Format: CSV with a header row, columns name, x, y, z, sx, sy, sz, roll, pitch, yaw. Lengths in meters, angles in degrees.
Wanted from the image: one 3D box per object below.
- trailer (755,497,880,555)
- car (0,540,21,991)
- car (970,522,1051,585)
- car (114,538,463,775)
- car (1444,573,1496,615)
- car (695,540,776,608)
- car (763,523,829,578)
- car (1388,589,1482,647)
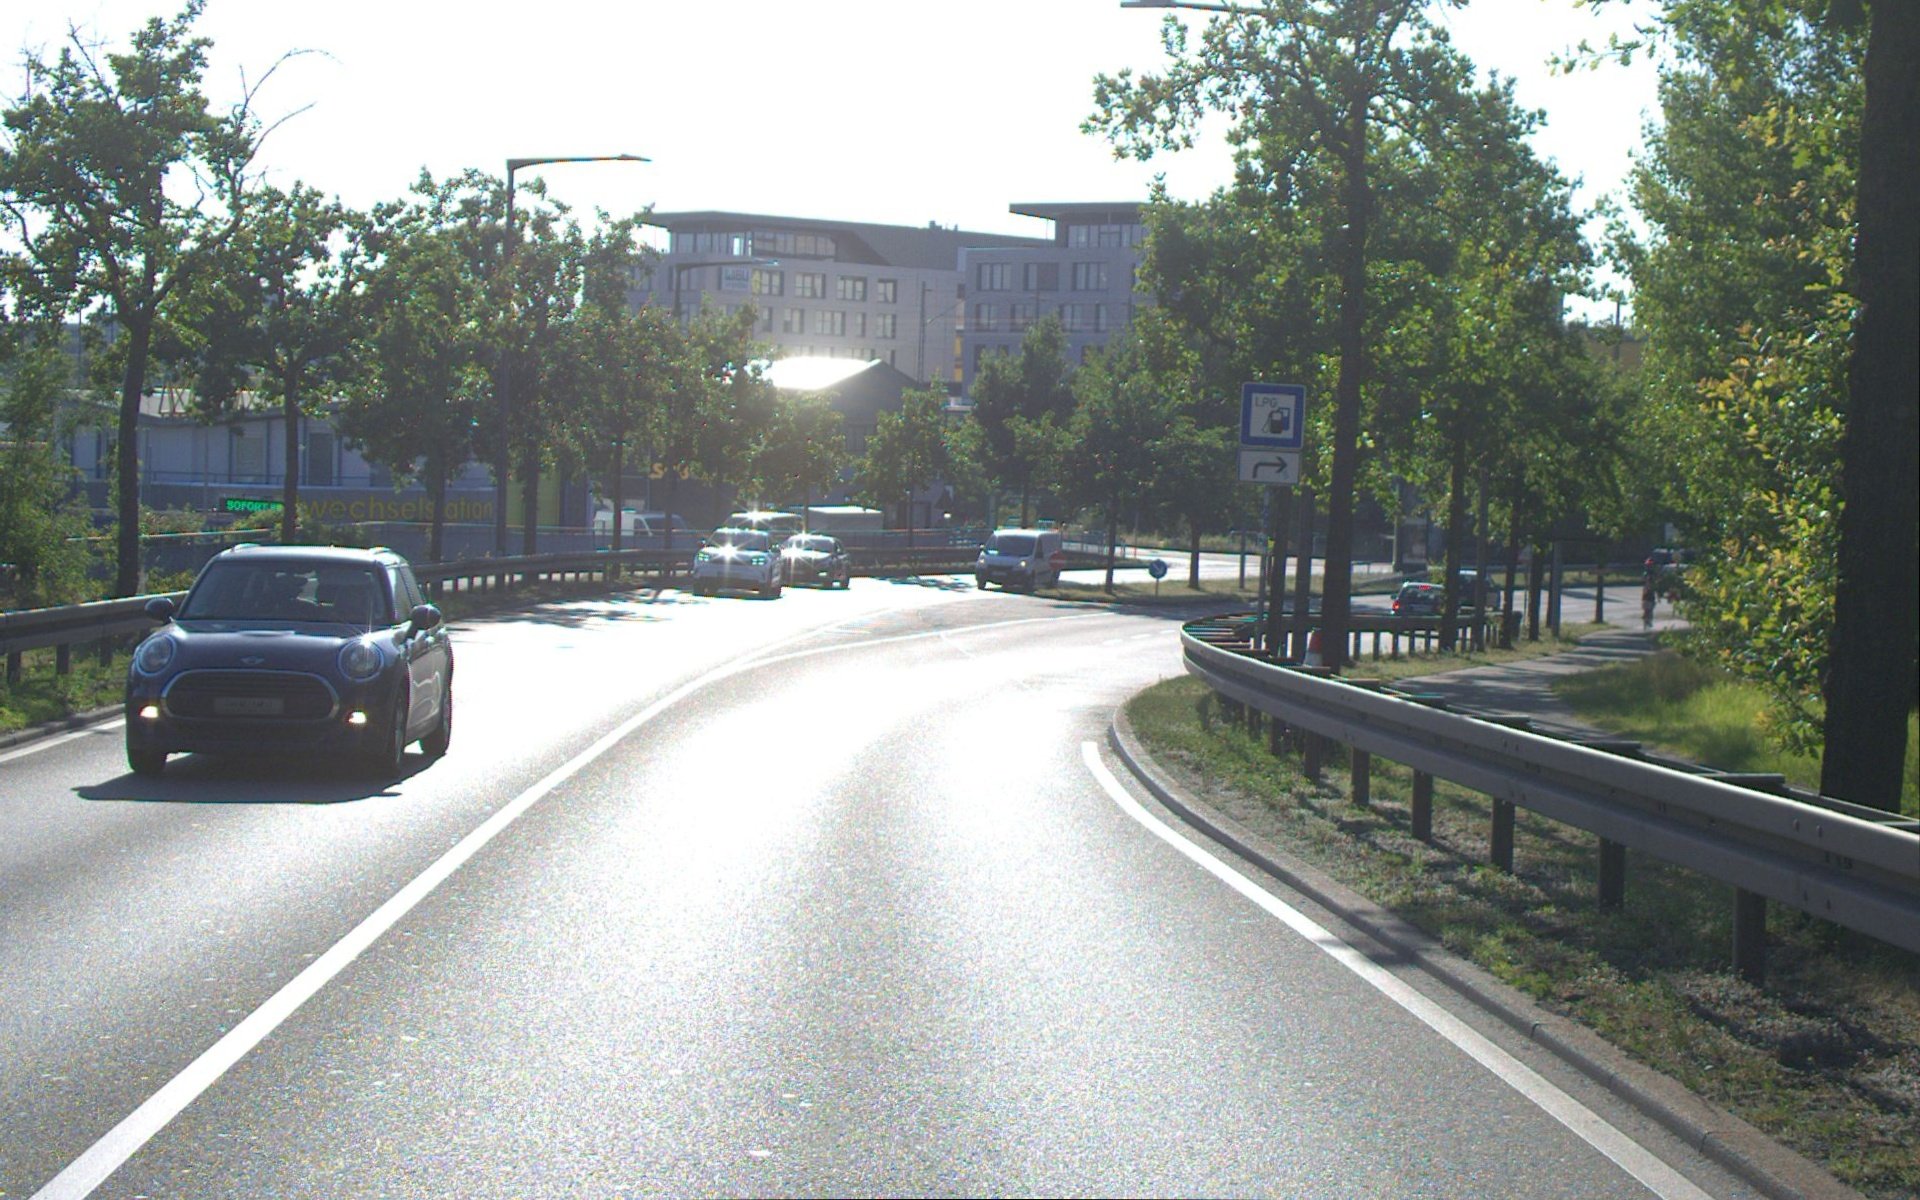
name,x,y,z,sx,sy,sz,roll,pitch,yaw
trailer,-5.272,-2.750,128.266,2.422,1.963,6.600,4,2,18
car,-3.860,0.566,9.460,1.695,1.462,3.860,0,1,-3
car,1.690,-1.555,113.547,1.879,2.007,5.258,1,1,10
car,-4.348,0.311,22.768,1.683,1.419,3.859,0,1,-2
car,18.483,-0.231,124.523,1.548,1.418,3.415,1,1,14
car,-5.468,-0.656,84.137,1.828,1.584,4.649,0,1,-2
car,-4.697,-1.424,98.734,1.772,1.460,4.384,3,1,-2
car,13.087,0.478,94.624,1.995,1.503,3.997,1,1,16
